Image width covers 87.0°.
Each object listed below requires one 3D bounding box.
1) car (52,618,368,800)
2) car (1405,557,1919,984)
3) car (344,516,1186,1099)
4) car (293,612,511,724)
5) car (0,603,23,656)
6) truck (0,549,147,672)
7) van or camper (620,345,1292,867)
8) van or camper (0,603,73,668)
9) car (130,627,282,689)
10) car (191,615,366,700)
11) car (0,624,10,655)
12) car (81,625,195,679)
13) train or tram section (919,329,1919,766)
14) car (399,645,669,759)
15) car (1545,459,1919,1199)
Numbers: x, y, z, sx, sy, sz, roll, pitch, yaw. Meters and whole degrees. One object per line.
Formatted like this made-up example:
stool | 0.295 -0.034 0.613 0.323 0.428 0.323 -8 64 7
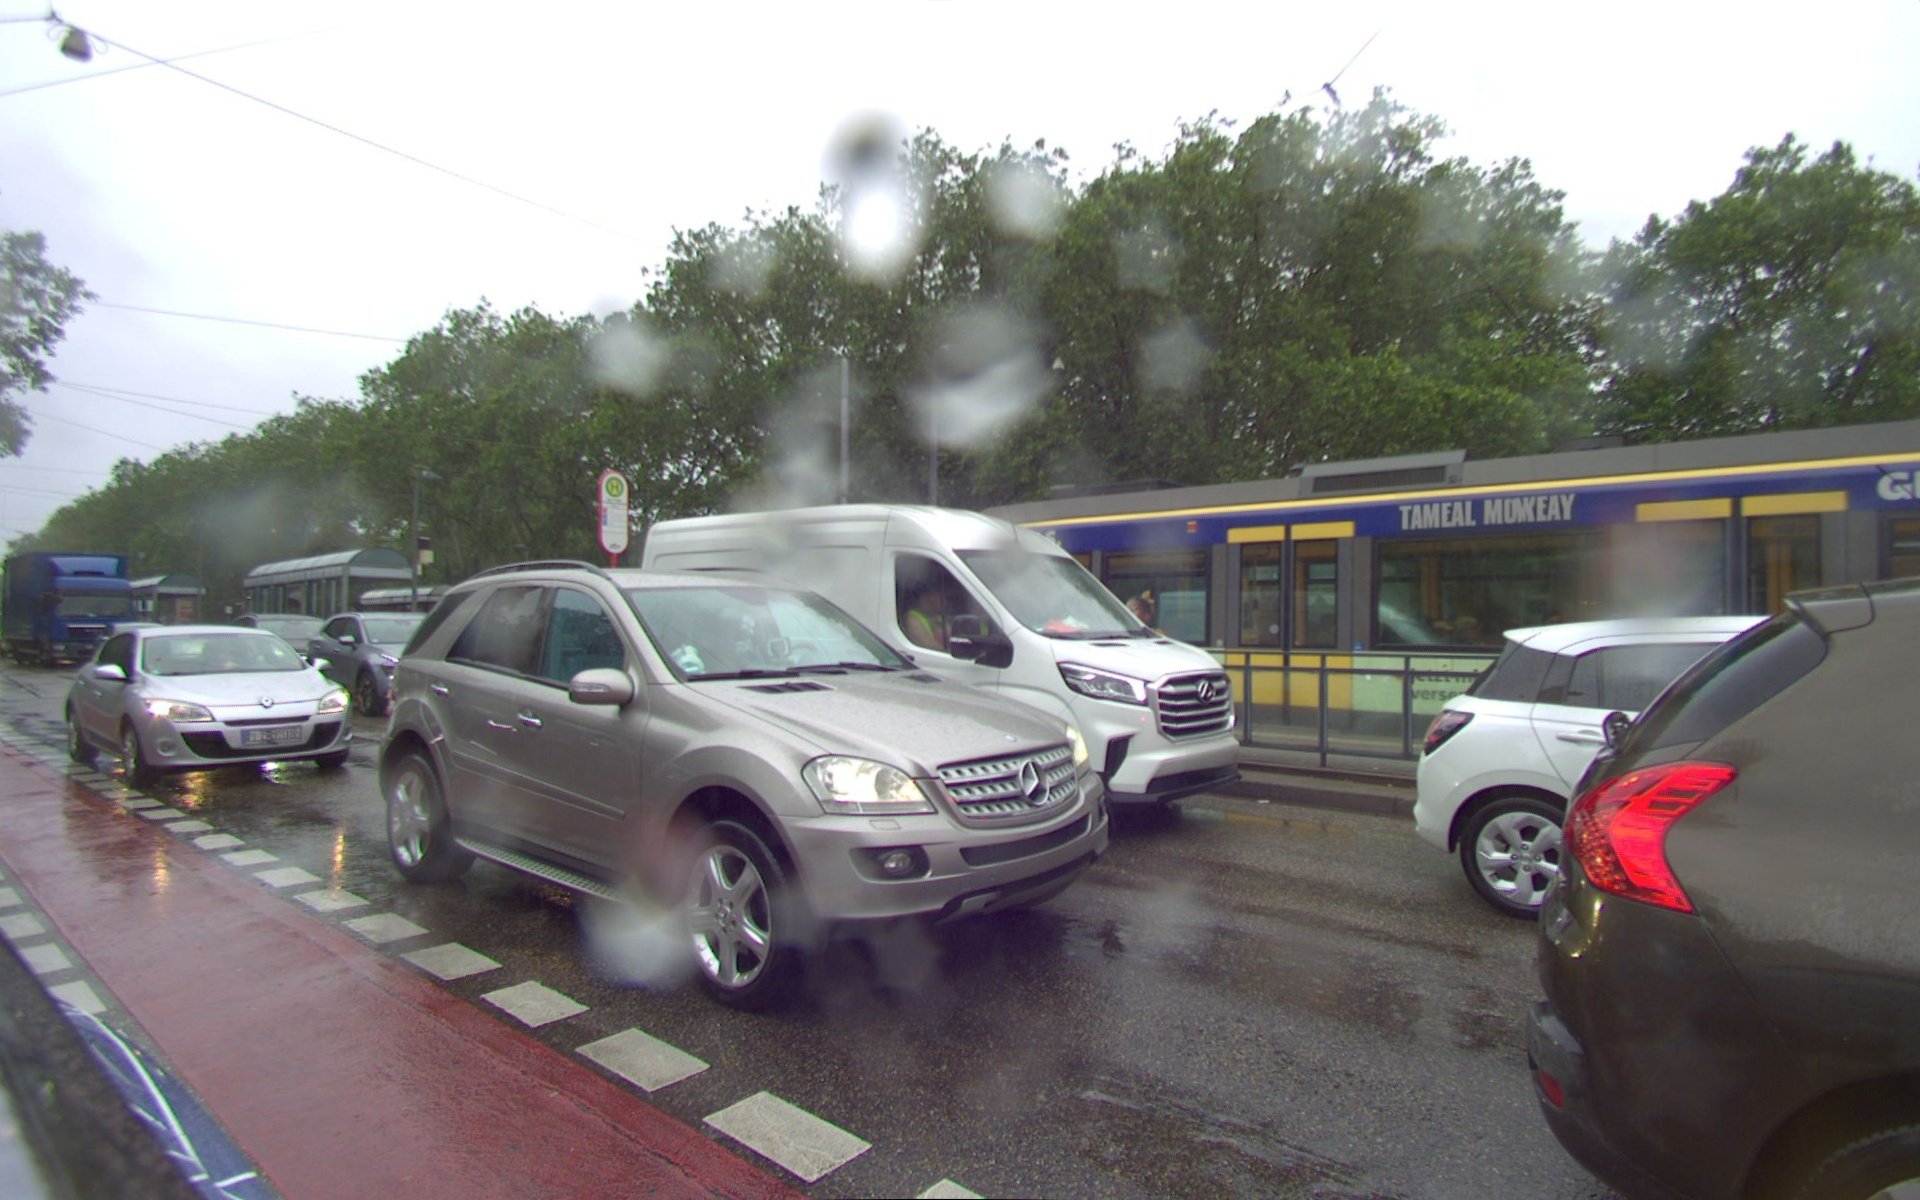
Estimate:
car | -7.801 0.950 10.394 3.998 1.489 1.750 -1 -1 40
car | 4.248 0.671 4.515 3.834 1.641 1.628 -1 -2 41
car | -1.309 0.669 5.322 4.459 1.783 2.004 -1 -1 40
car | -9.497 1.062 17.073 4.454 1.636 1.894 -1 -2 43
car | -46.910 1.410 48.900 5.727 2.445 1.972 -1 0 43
truck | -32.109 0.457 36.306 9.803 3.919 2.513 -1 -3 40
van or camper | -0.371 0.099 8.833 5.846 3.166 2.136 -1 -2 40
van or camper | -40.048 1.474 43.549 6.427 2.590 1.973 -1 0 41
car | -18.834 1.389 25.205 4.602 1.405 1.973 -1 -3 40
car | -14.652 1.170 21.680 4.316 1.633 1.974 -1 -2 40
car | -52.357 2.101 54.068 3.998 1.589 1.973 -1 -1 41
car | -24.555 1.487 30.184 4.074 1.498 1.871 -1 -2 40
train or tram section | 5.660 -0.379 12.343 13.652 3.539 3.476 -1 0 41
car | -5.452 1.173 12.712 4.084 1.126 1.448 -1 -1 40
car | 3.282 0.597 1.238 4.170 1.681 1.815 -1 -1 41
